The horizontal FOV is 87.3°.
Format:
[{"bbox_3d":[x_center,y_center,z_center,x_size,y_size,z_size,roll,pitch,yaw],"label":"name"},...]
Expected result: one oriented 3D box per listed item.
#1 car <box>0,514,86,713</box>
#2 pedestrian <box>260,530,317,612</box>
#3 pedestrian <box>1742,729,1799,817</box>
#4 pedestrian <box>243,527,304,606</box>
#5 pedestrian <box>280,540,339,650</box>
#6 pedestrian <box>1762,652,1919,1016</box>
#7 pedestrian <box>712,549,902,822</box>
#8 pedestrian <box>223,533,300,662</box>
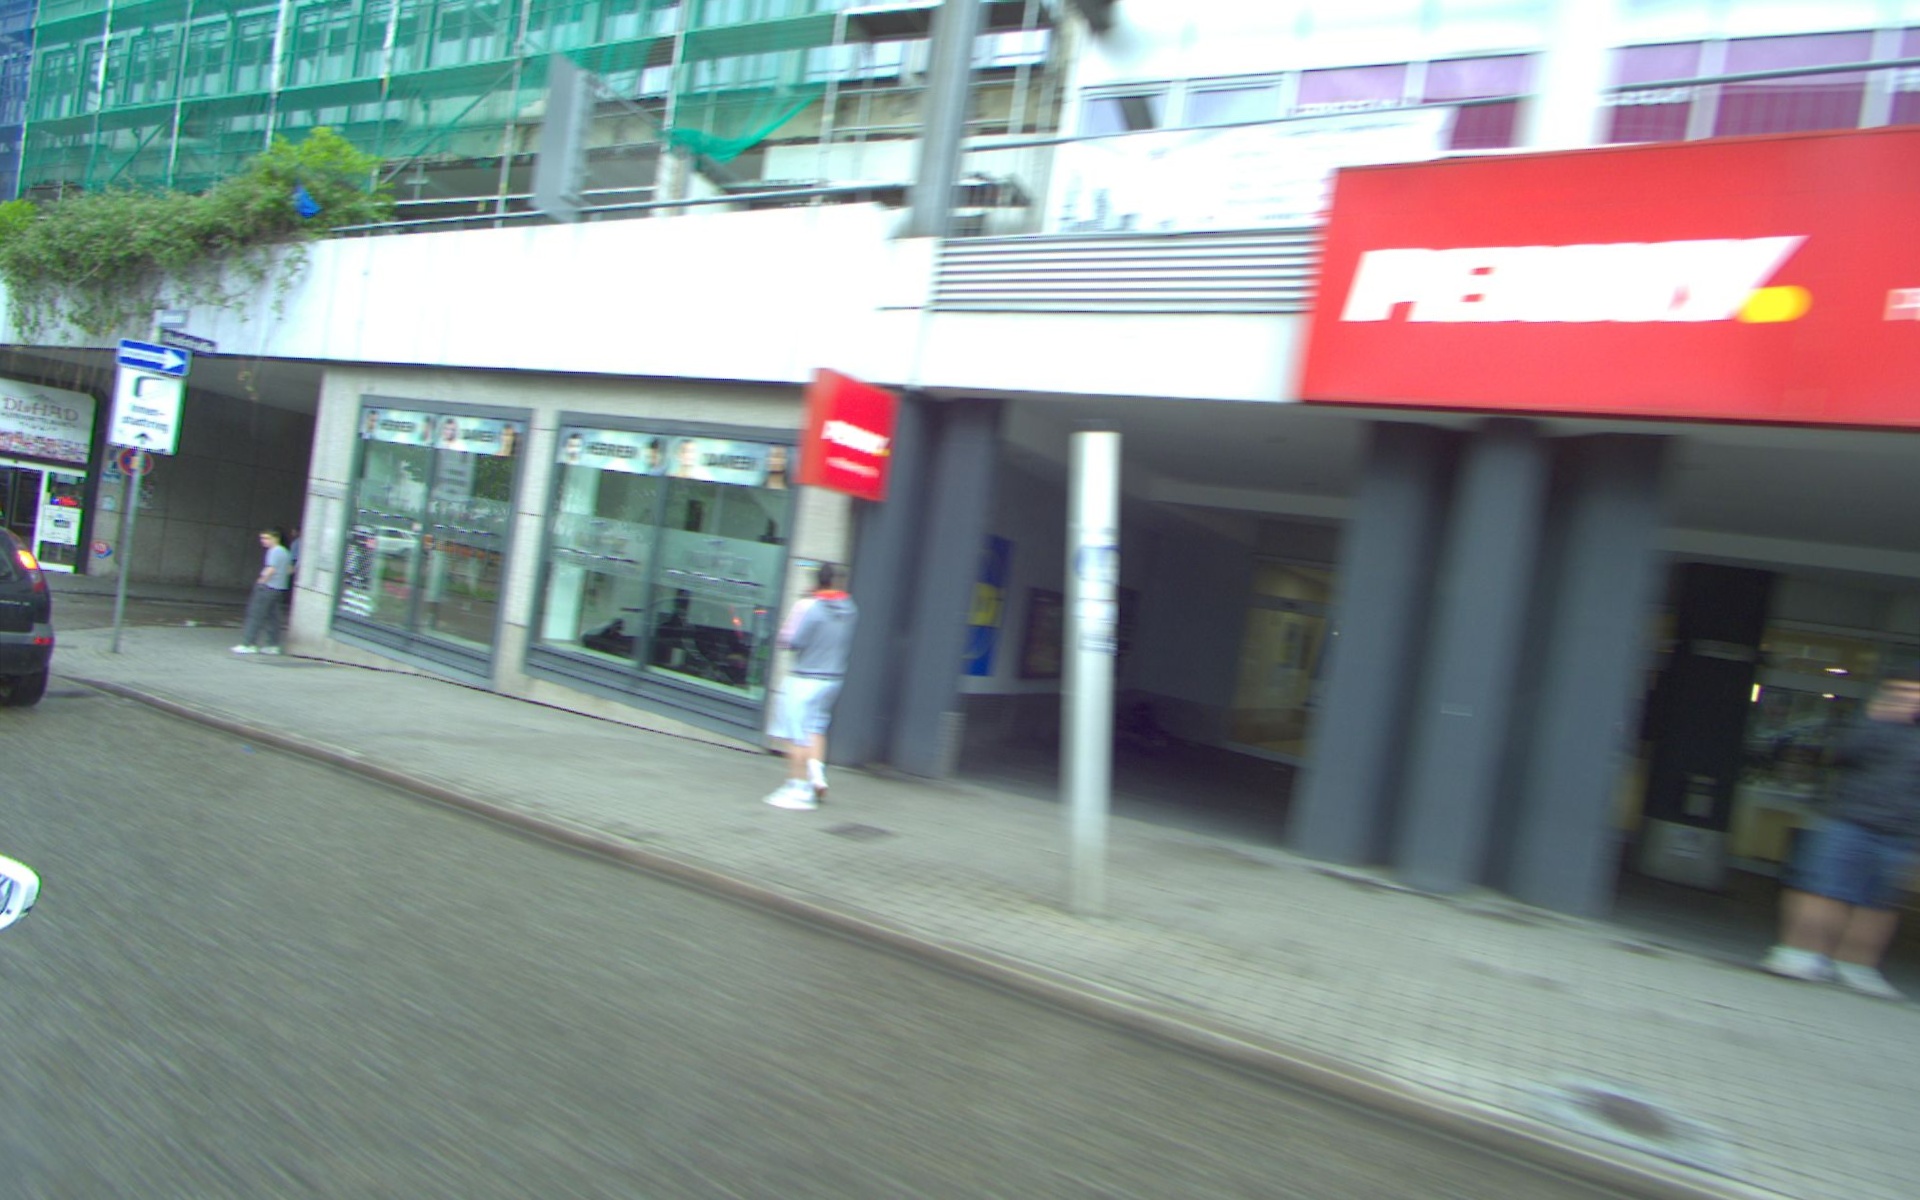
[{"bbox_3d":[-8.769,-0.089,7.972,3.708,1.437,1.719,6,-1,32],"label":"car"},{"bbox_3d":[-16.187,-0.685,24.262,0.823,1.802,0.616,13,4,27],"label":"pedestrian"},{"bbox_3d":[17.483,3.710,21.708,0.628,1.739,0.769,10,1,32],"label":"pedestrian"},{"bbox_3d":[-16.872,-0.826,24.723,0.756,1.743,0.719,14,3,26],"label":"pedestrian"},{"bbox_3d":[-10.568,-0.084,16.333,0.596,1.683,0.568,7,1,-39],"label":"pedestrian"},{"bbox_3d":[4.876,1.186,5.333,0.659,1.737,0.817,7,1,28],"label":"pedestrian"},{"bbox_3d":[-1.080,0.580,7.143,0.817,1.744,0.835,7,1,38],"label":"pedestrian"},{"bbox_3d":[-9.532,-0.035,13.751,0.633,1.671,0.560,5,1,-19],"label":"pedestrian"}]
